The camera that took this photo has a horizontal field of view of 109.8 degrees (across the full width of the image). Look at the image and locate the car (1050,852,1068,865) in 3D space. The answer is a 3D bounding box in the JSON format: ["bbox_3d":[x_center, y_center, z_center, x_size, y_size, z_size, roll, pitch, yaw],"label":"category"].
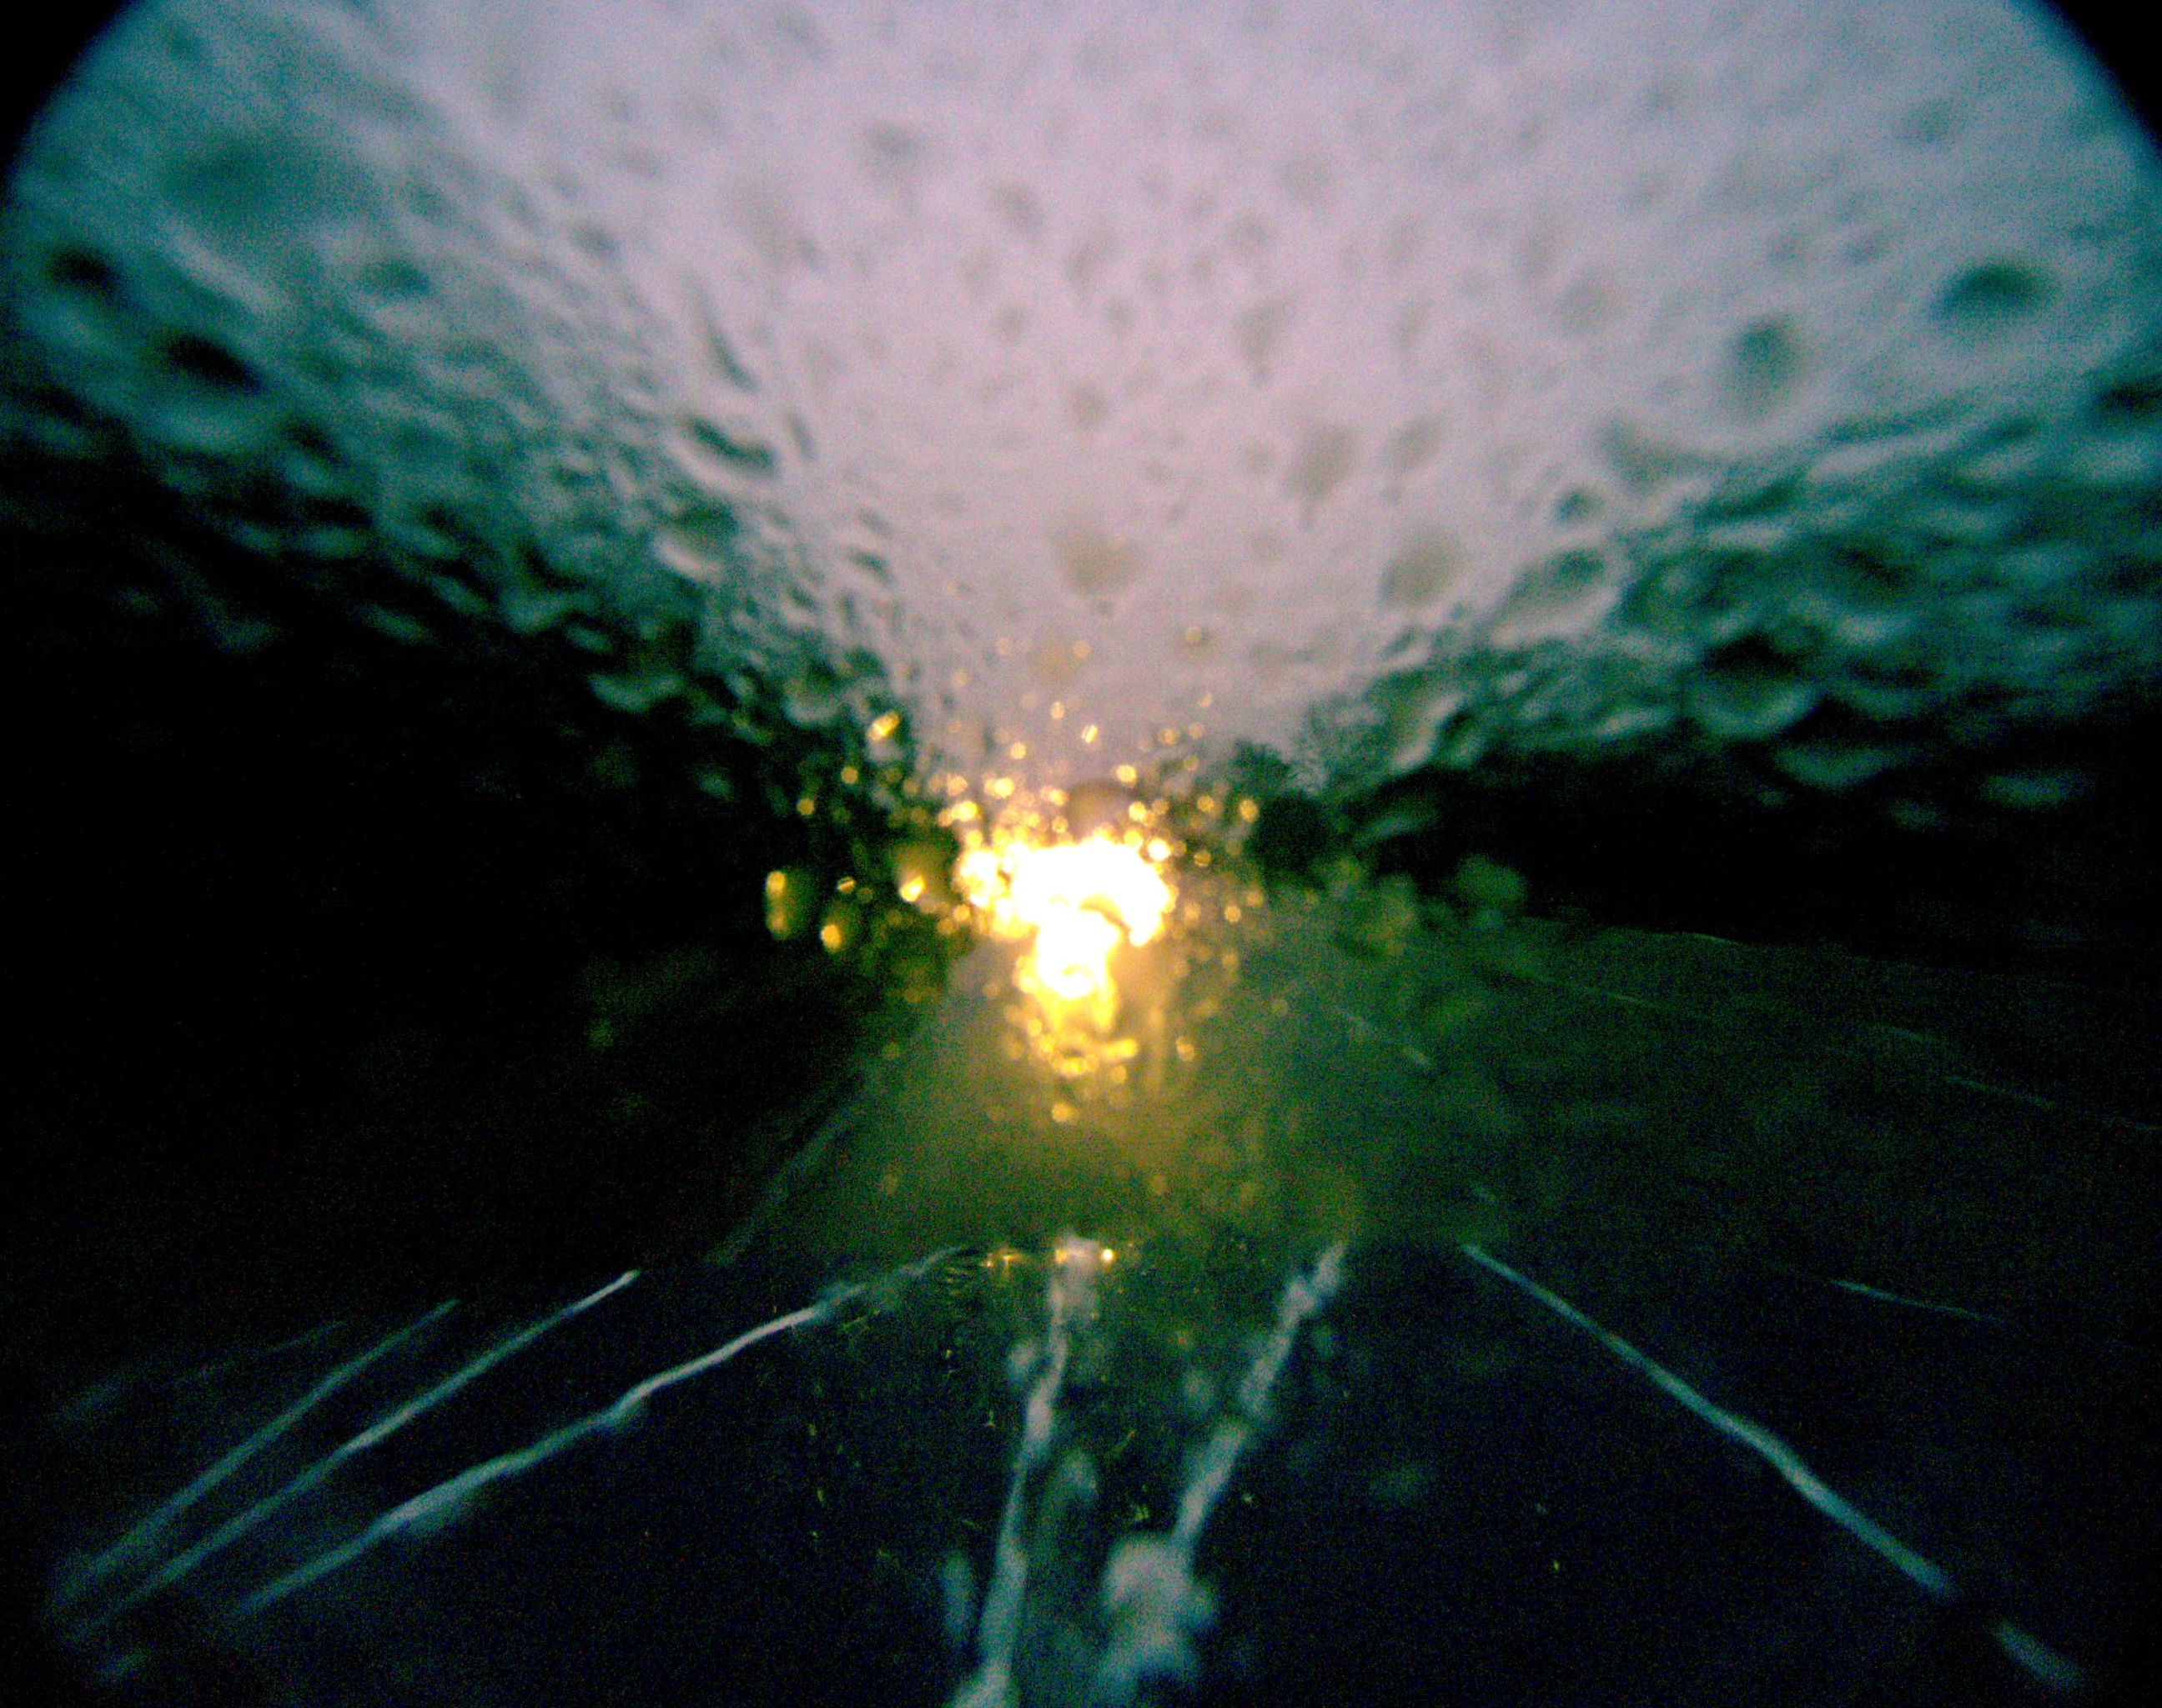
[{"bbox_3d":[-2.639,0.499,90.448,1.770,1.488,4.100,-1,0,-7],"label":"car"}]

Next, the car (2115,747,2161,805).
[{"bbox_3d":[39.807,-2.880,26.357,2.001,2.002,4.224,-4,1,-16],"label":"car"}]

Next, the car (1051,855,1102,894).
[{"bbox_3d":[-0.249,0.802,31.508,1.851,1.429,4.243,-1,1,-3],"label":"car"}]

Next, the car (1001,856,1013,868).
[{"bbox_3d":[-11.254,1.202,115.096,1.702,1.721,3.997,-2,1,-7],"label":"car"}]

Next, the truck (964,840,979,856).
[{"bbox_3d":[-33.140,-1.704,230.146,3.359,4.402,11.155,-6,1,-12],"label":"truck"}]

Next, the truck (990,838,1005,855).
[{"bbox_3d":[-18.272,-1.693,165.422,2.657,3.576,9.832,0,1,-9],"label":"truck"}]
